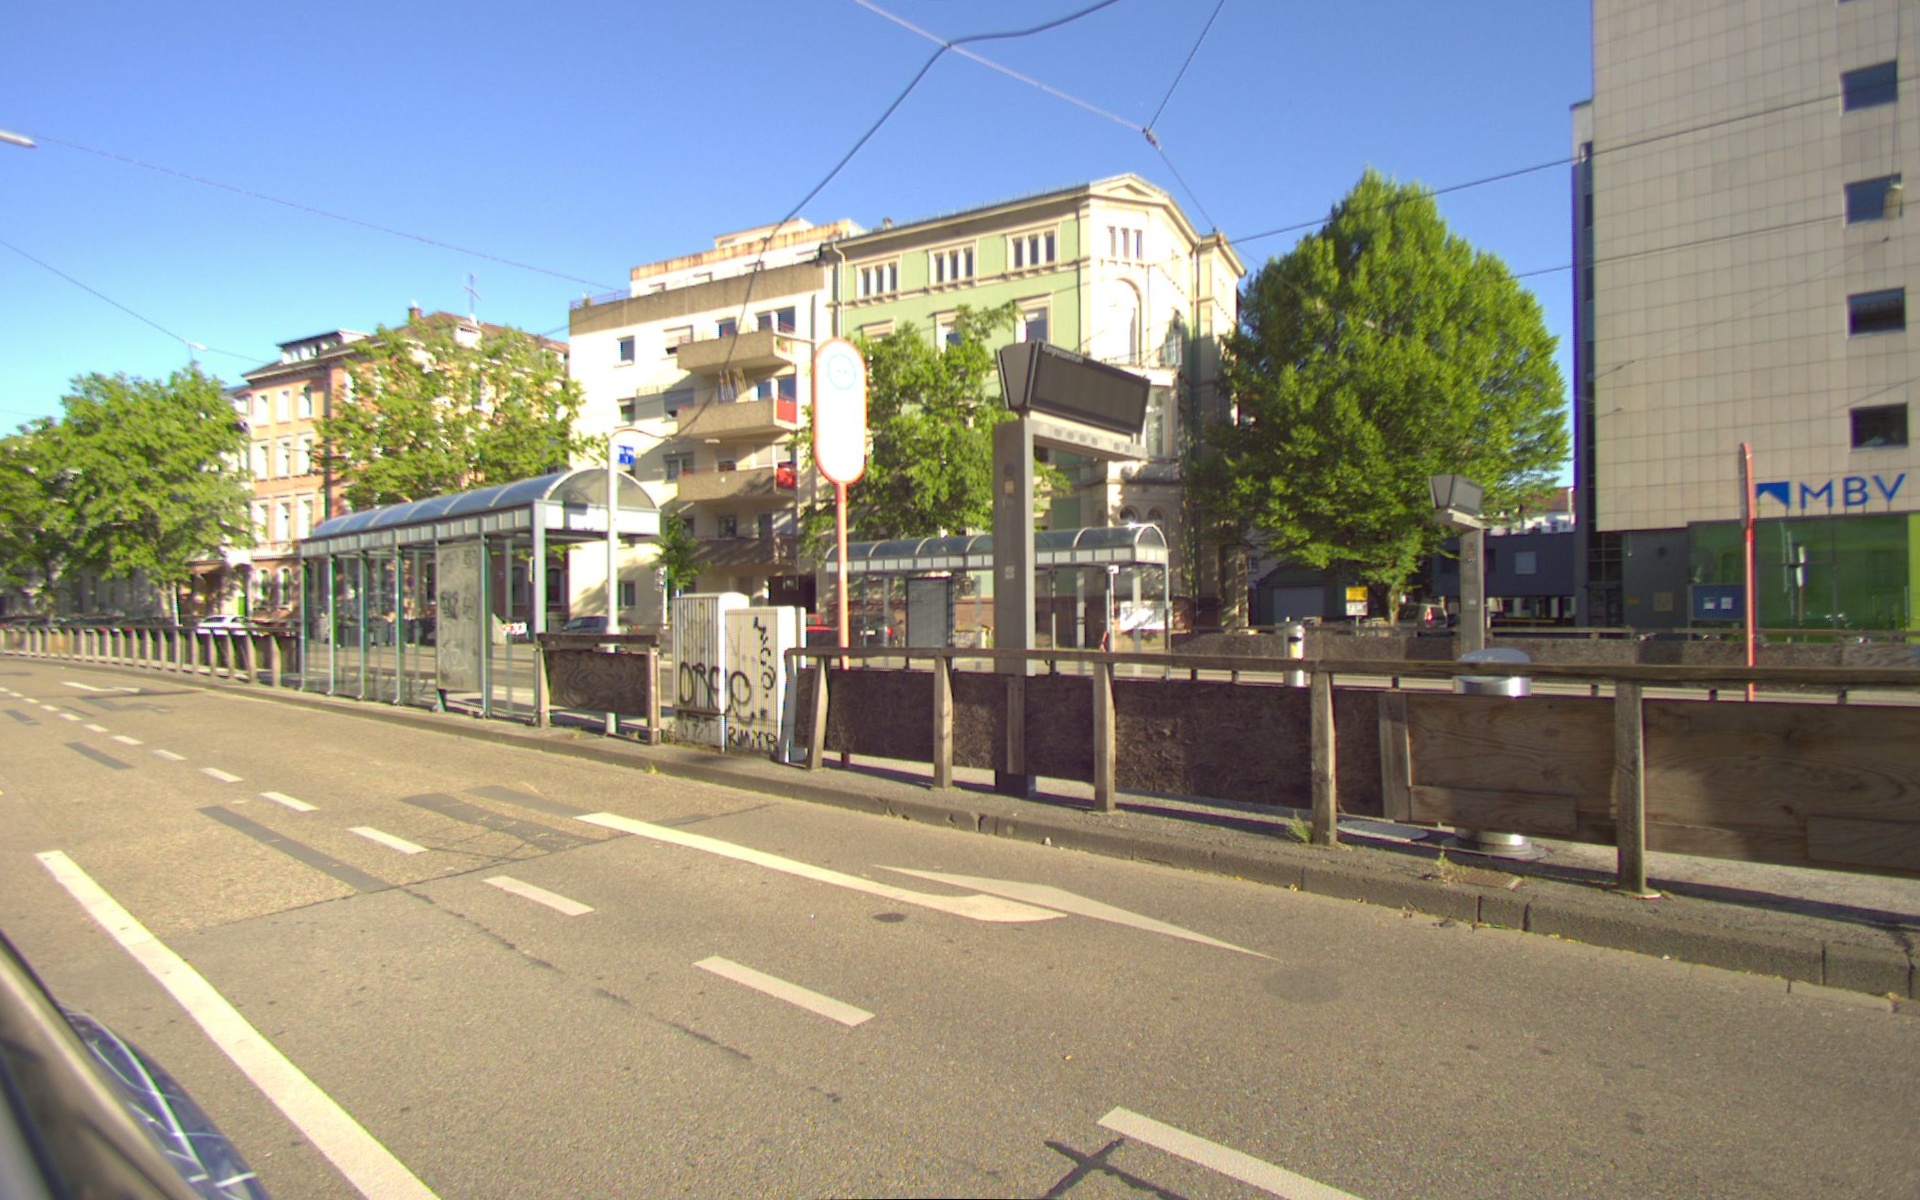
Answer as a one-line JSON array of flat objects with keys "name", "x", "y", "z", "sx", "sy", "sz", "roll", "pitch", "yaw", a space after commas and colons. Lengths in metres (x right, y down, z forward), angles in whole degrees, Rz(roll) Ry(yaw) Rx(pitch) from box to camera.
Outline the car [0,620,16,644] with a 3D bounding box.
[{"name": "car", "x": -68.085, "y": 2.225, "z": 70.101, "sx": 2.001, "sy": 1.604, "sz": 3.812, "roll": -2, "pitch": -2, "yaw": 44}]

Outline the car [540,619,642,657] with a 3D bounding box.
[{"name": "car", "x": -13.986, "y": 1.435, "z": 38.384, "sx": 3.498, "sy": 1.406, "sz": 1.602, "roll": -1, "pitch": -2, "yaw": 22}]

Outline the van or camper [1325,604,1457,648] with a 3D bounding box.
[{"name": "van or camper", "x": 15.522, "y": 0.904, "z": 36.537, "sx": 3.998, "sy": 1.417, "sz": 1.943, "roll": 2, "pitch": 0, "yaw": 41}]

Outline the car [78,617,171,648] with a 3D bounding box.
[{"name": "car", "x": -47.961, "y": 1.853, "z": 58.145, "sx": 2.001, "sy": 1.697, "sz": 3.942, "roll": -2, "pitch": -2, "yaw": 44}]

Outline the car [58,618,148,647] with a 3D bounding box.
[{"name": "car", "x": -51.278, "y": 1.918, "z": 60.617, "sx": 2.001, "sy": 1.697, "sz": 3.942, "roll": -2, "pitch": -2, "yaw": 44}]

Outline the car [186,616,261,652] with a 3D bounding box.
[{"name": "car", "x": -39.506, "y": 1.779, "z": 54.363, "sx": 1.966, "sy": 1.736, "sz": 4.012, "roll": 0, "pitch": 0, "yaw": -15}]

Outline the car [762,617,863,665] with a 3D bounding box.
[{"name": "car", "x": -4.985, "y": 1.385, "z": 34.679, "sx": 1.763, "sy": 1.547, "sz": 3.763, "roll": -1, "pitch": -2, "yaw": 23}]

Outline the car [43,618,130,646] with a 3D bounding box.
[{"name": "car", "x": -54.286, "y": 1.964, "z": 62.946, "sx": 2.001, "sy": 1.697, "sz": 3.942, "roll": -2, "pitch": -2, "yaw": 44}]

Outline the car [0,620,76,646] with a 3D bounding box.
[{"name": "car", "x": -59.595, "y": 2.091, "z": 65.257, "sx": 3.811, "sy": 1.604, "sz": 2.001, "roll": 1, "pitch": -2, "yaw": -45}]
